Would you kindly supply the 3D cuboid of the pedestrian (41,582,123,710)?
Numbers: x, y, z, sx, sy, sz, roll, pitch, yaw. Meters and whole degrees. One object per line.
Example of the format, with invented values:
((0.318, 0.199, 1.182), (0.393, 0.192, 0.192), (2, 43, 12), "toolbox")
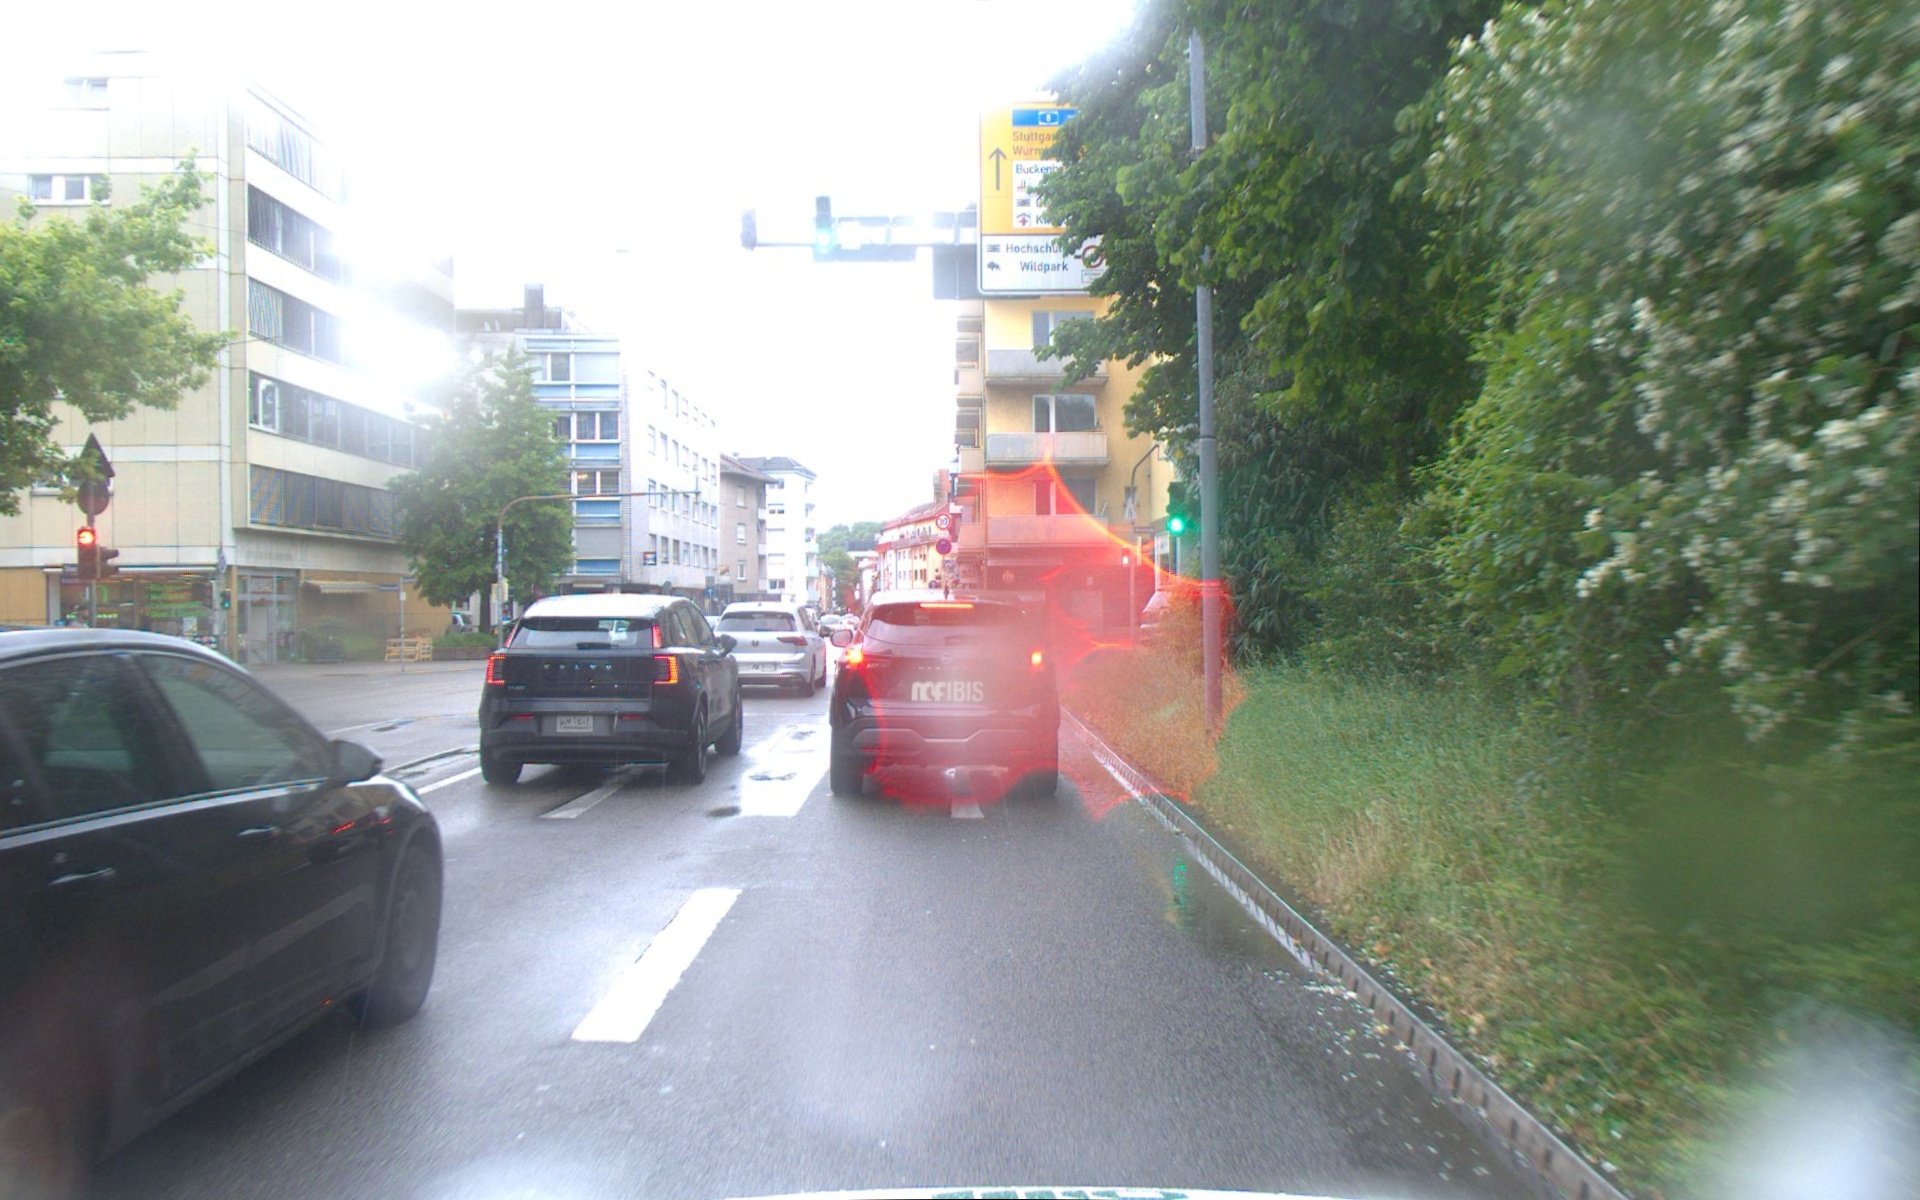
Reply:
((-14.626, 0.757, 27.572), (0.923, 2.049, 0.884), (-2, -1, -10), "pedestrian")

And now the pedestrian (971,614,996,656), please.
((0.939, 1.387, 65.895), (0.818, 1.584, 0.832), (-6, -1, -2), "pedestrian")

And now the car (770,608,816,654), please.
((-7.079, 1.299, 70.463), (1.744, 1.847, 4.402), (-2, 0, -4), "car")

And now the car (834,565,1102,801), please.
((-0.015, 0.616, 14.007), (1.920, 1.682, 3.998), (1, 0, -2), "car")

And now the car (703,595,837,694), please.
((-3.031, 0.673, 27.105), (1.731, 1.469, 3.999), (-1, 0, 0), "car")

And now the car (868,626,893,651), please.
((-7.096, 3.445, 147.852), (1.953, 2.049, 4.000), (-3, -1, 0), "car")

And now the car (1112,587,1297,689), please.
((5.272, 0.772, 35.443), (1.966, 2.049, 3.972), (-1, 0, 44), "car")

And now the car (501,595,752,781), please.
((-2.843, 0.687, 14.865), (1.580, 1.445, 3.965), (0, 0, -2), "car")

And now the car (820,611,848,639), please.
((-9.805, 1.929, 128.902), (1.872, 2.049, 3.999), (-3, -1, -1), "car")

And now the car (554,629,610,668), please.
((-16.059, 2.033, 70.400), (1.639, 1.504, 3.606), (-2, 0, -3), "car")

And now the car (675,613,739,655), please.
((-10.051, 1.325, 65.953), (1.743, 1.504, 3.794), (-4, -1, 2), "car")

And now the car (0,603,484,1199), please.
((-2.705, 0.761, 4.487), (1.720, 1.478, 3.999), (-1, 0, -1), "car")
